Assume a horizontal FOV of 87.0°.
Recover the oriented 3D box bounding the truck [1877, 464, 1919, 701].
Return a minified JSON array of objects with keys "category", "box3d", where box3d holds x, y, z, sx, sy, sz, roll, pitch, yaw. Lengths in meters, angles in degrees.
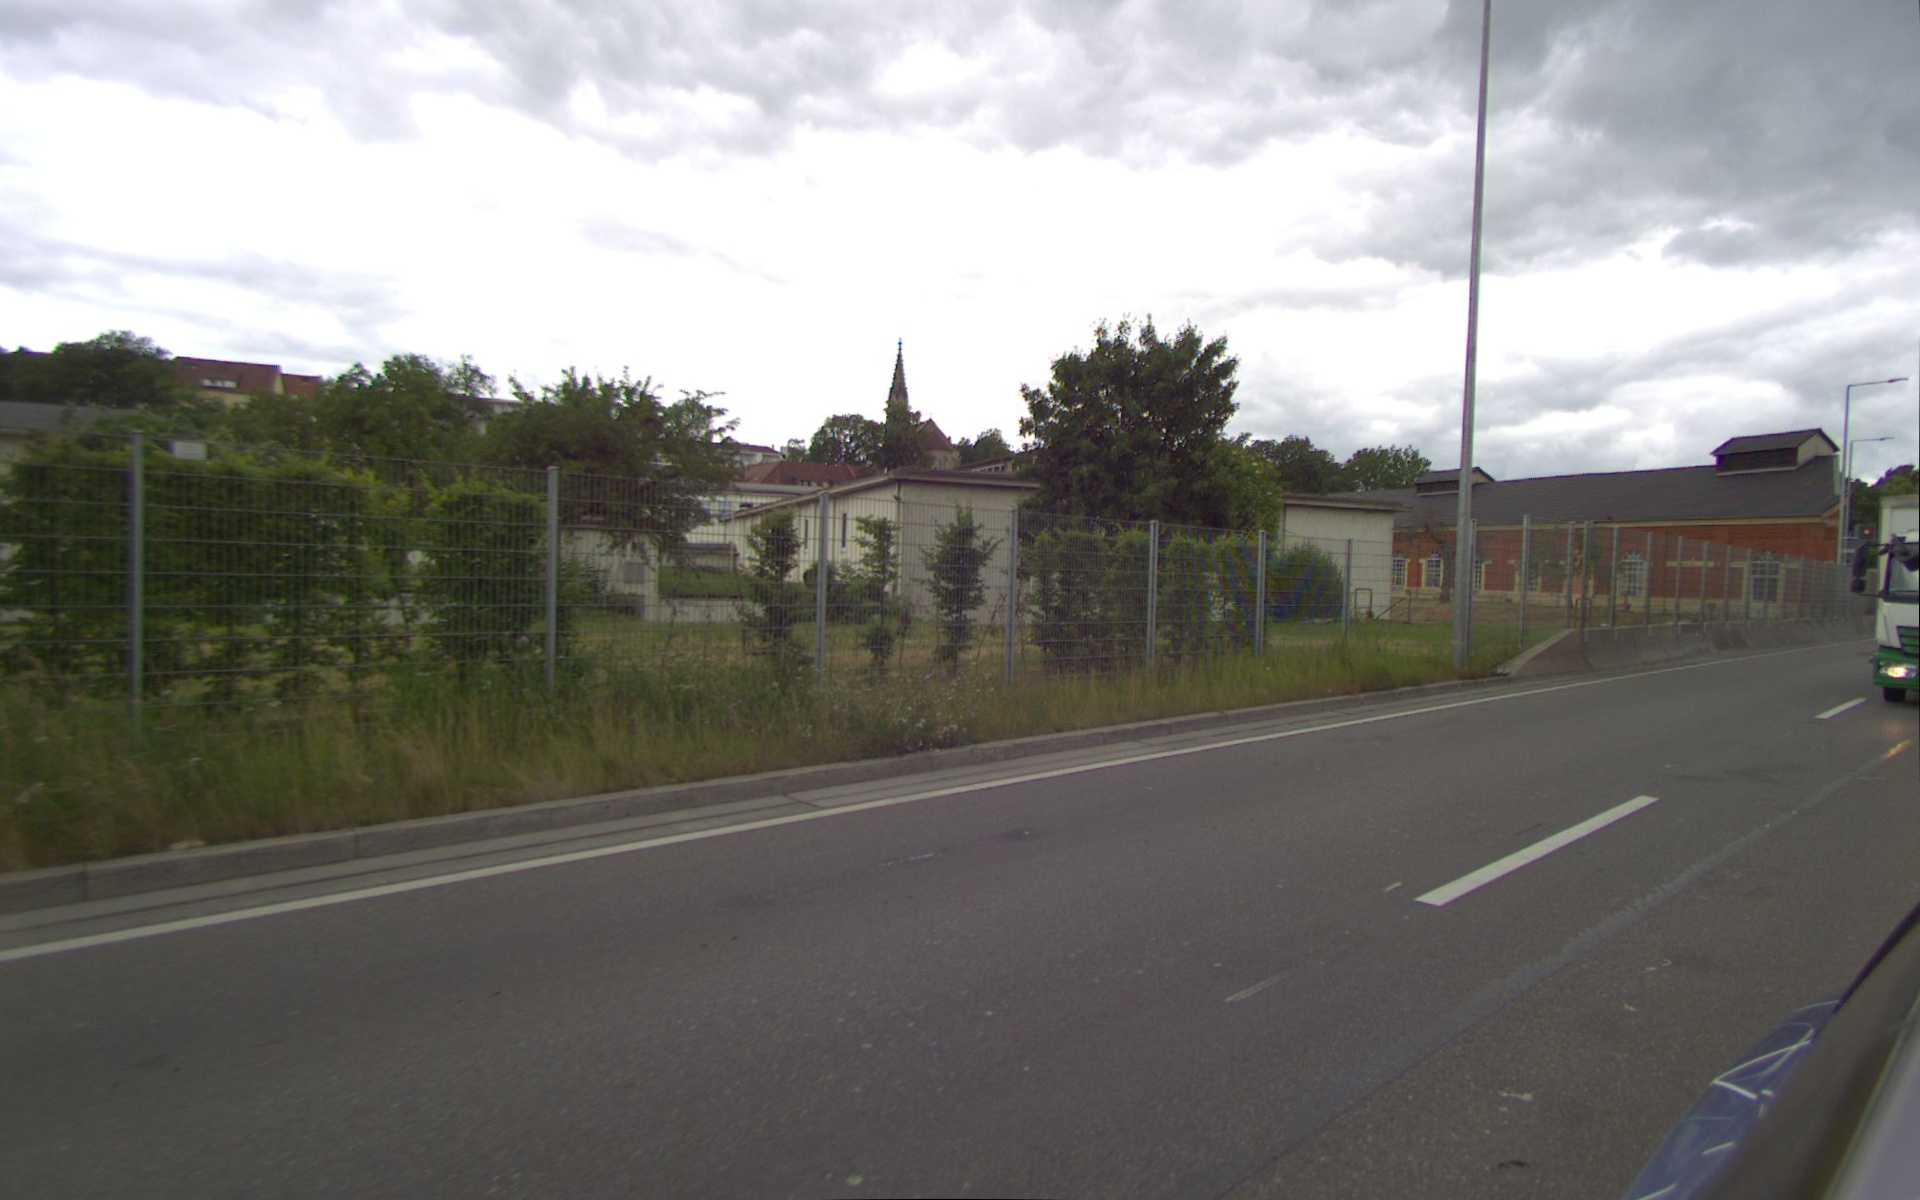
[{"category":"truck","box3d":[16.586,-0.244,15.783,7.288,3.280,2.633,0,0,-42]}]
